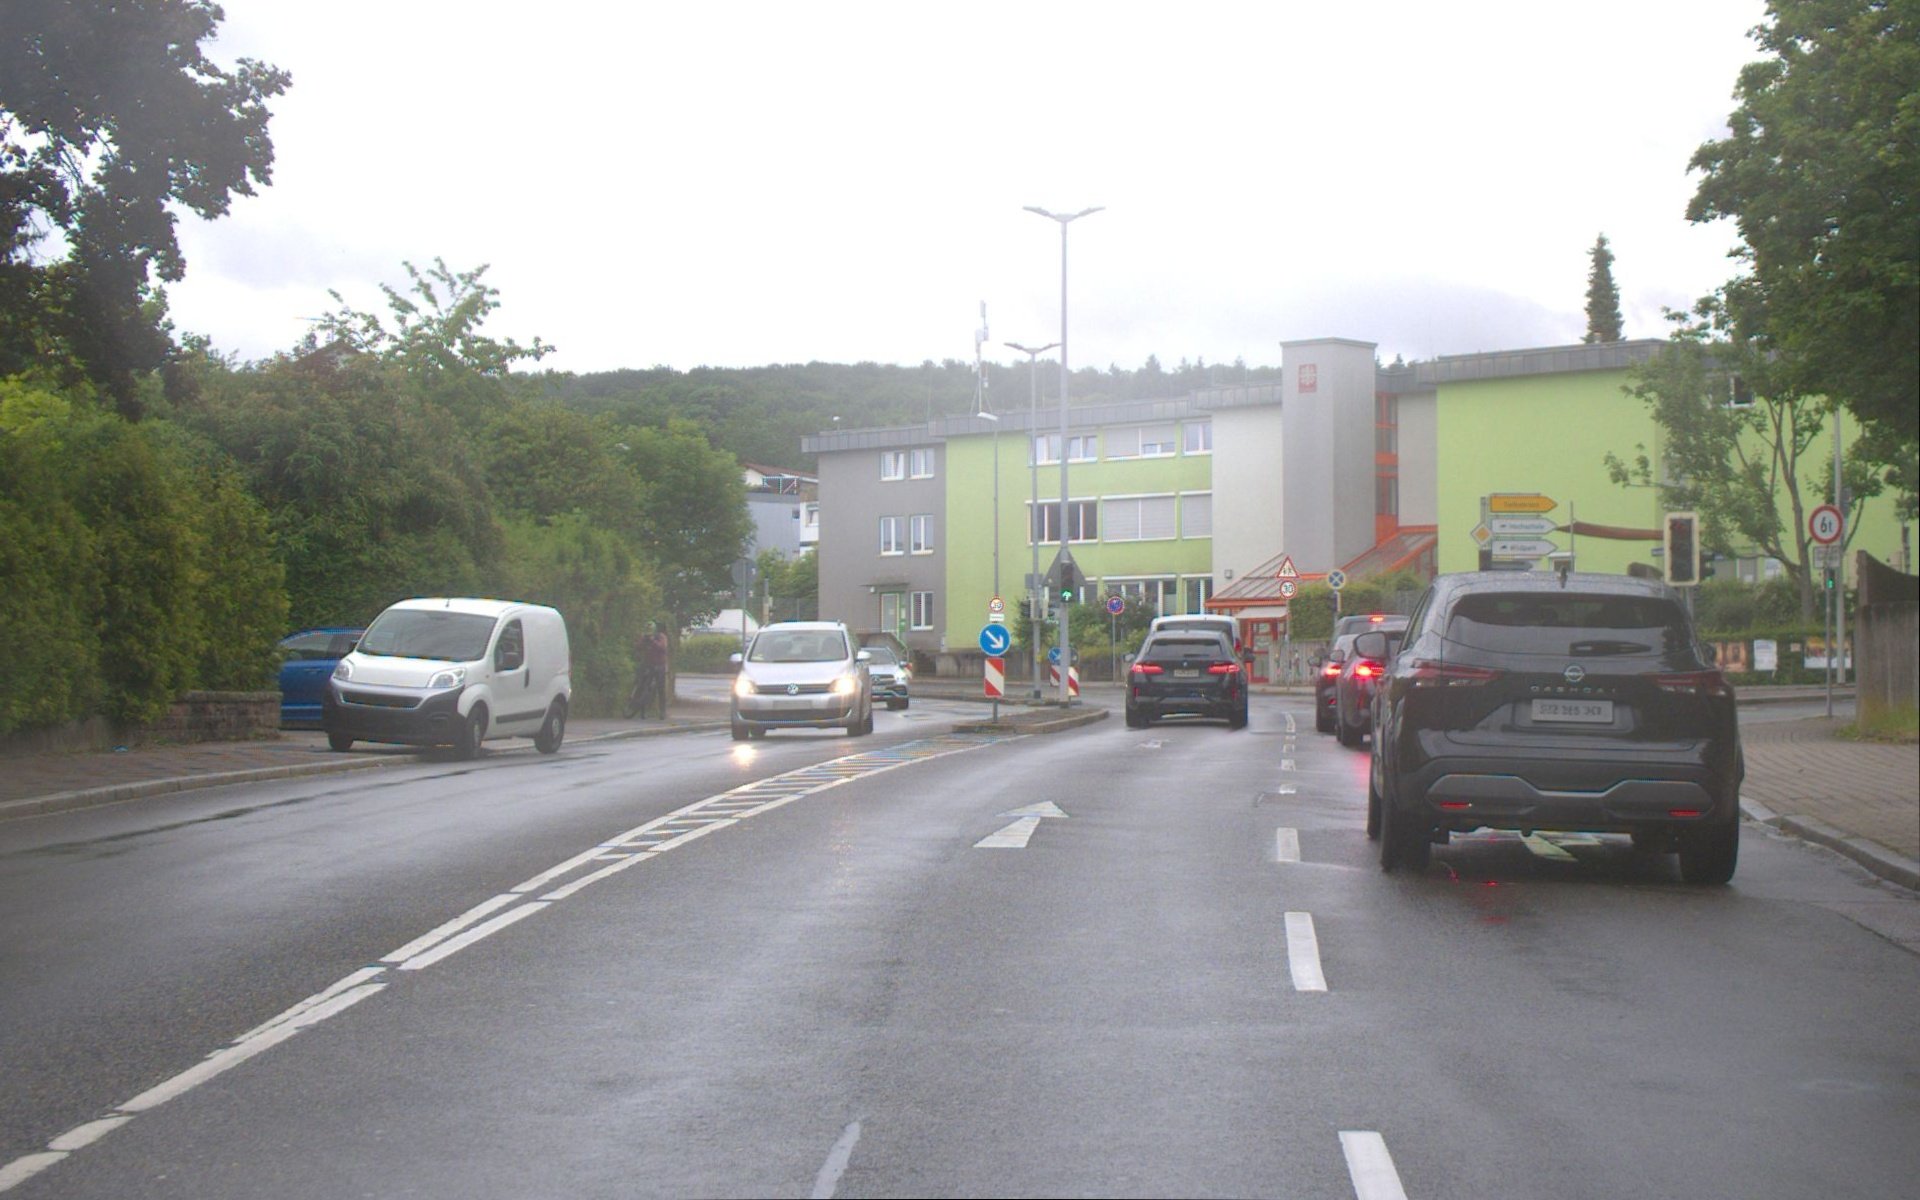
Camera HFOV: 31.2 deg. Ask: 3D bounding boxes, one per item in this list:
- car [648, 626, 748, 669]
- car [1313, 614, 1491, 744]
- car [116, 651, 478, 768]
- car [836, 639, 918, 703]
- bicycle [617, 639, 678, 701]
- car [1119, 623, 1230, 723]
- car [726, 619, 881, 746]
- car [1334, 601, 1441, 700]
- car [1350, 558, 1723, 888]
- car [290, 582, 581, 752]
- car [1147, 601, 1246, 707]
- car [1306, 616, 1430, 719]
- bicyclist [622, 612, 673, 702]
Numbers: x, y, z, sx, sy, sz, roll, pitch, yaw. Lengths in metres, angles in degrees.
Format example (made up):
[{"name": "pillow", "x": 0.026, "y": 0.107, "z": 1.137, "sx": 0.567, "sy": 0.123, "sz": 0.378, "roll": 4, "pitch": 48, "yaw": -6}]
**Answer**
[{"name": "car", "x": -12.263, "y": 2.228, "z": 160.604, "sx": 4.393, "sy": 1.766, "sz": 2.000, "roll": -2, "pitch": -1, "yaw": -11}, {"name": "car", "x": 5.259, "y": 0.927, "z": 41.387, "sx": 1.905, "sy": 1.454, "sz": 4.777, "roll": -1, "pitch": -1, "yaw": 5}, {"name": "car", "x": -8.827, "y": 1.449, "z": 46.058, "sx": 4.482, "sy": 1.357, "sz": 1.805, "roll": 2, "pitch": 1, "yaw": -1}, {"name": "car", "x": -2.318, "y": 1.988, "z": 97.153, "sx": 2.041, "sy": 1.710, "sz": 4.481, "roll": -2, "pitch": -1, "yaw": 1}, {"name": "bicycle", "x": -5.593, "y": 1.264, "z": 61.583, "sx": 0.747, "sy": 1.083, "sz": 1.989, "roll": 1, "pitch": -1, "yaw": 4}, {"name": "car", "x": 3.450, "y": 1.135, "z": 54.794, "sx": 1.683, "sy": 1.501, "sz": 3.773, "roll": 1, "pitch": 0, "yaw": 5}, {"name": "car", "x": -2.082, "y": 1.087, "z": 46.822, "sx": 1.635, "sy": 1.574, "sz": 4.057, "roll": -3, "pitch": -1, "yaw": 3}, {"name": "car", "x": 7.941, "y": 0.916, "z": 64.122, "sx": 1.783, "sy": 1.728, "sz": 4.086, "roll": 1, "pitch": 0, "yaw": 5}, {"name": "car", "x": 3.091, "y": 0.623, "z": 19.144, "sx": 1.790, "sy": 1.598, "sz": 4.252, "roll": 1, "pitch": 0, "yaw": 6}, {"name": "car", "x": -5.767, "y": 0.742, "z": 38.306, "sx": 1.702, "sy": 1.702, "sz": 3.976, "roll": 3, "pitch": 0, "yaw": 14}, {"name": "car", "x": 4.327, "y": 0.965, "z": 63.030, "sx": 1.717, "sy": 1.838, "sz": 4.086, "roll": 1, "pitch": 0, "yaw": 4}, {"name": "car", "x": 5.980, "y": 0.970, "z": 50.278, "sx": 1.707, "sy": 1.422, "sz": 4.507, "roll": -1, "pitch": -1, "yaw": 7}, {"name": "bicyclist", "x": -5.602, "y": 1.022, "z": 61.618, "sx": 0.764, "sy": 1.606, "sz": 0.868, "roll": 1, "pitch": -1, "yaw": 4}]
